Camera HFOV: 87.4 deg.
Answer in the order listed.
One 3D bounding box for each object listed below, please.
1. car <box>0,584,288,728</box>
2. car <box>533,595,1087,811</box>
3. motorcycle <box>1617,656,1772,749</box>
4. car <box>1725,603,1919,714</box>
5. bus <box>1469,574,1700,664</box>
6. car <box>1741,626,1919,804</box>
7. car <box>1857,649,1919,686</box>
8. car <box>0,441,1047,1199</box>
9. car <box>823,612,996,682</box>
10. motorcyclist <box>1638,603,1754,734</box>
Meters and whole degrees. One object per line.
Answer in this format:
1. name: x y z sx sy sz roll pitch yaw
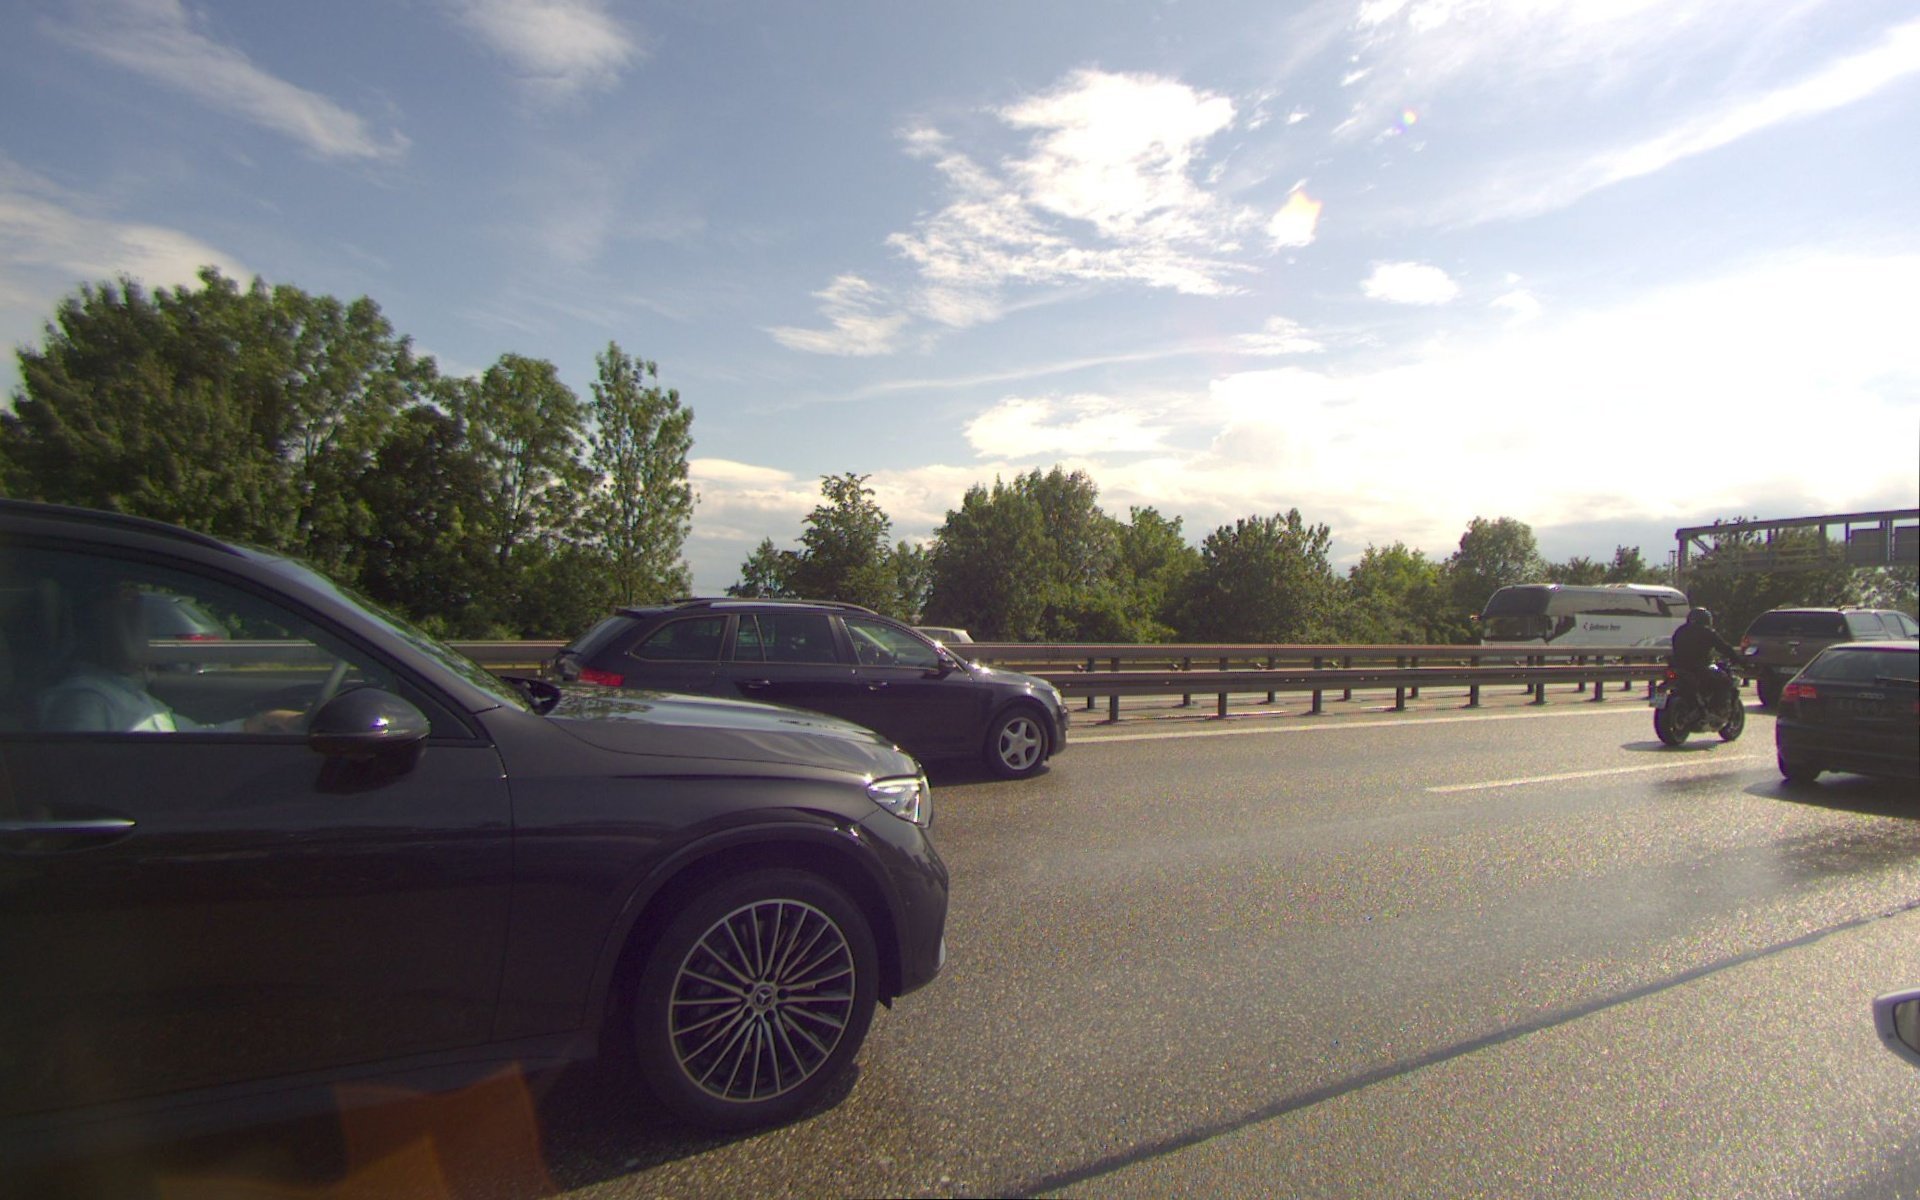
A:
1. car: -10.463 0.619 11.952 3.953 1.565 1.791 2 0 -31
2. car: -1.216 0.739 8.650 4.322 1.444 1.910 2 -1 -31
3. motorcycle: 9.264 1.253 12.639 2.360 1.041 0.687 2 0 -30
4. car: 16.944 1.053 19.139 5.352 1.869 1.798 1 0 -29
5. bus: 26.674 0.869 42.575 12.324 3.418 2.877 2 0 -30
6. car: 9.592 1.024 9.802 4.006 1.452 1.742 1 0 -30
7. car: 40.684 2.894 43.432 3.954 1.461 1.767 2 -1 -31
8. car: -2.175 0.547 2.818 4.571 1.701 1.868 2 0 -30
9. car: -1.249 1.148 25.054 3.952 1.613 1.724 2 0 -30
10. motorcyclist: 9.252 0.833 12.631 1.080 1.558 0.792 1 0 -30
